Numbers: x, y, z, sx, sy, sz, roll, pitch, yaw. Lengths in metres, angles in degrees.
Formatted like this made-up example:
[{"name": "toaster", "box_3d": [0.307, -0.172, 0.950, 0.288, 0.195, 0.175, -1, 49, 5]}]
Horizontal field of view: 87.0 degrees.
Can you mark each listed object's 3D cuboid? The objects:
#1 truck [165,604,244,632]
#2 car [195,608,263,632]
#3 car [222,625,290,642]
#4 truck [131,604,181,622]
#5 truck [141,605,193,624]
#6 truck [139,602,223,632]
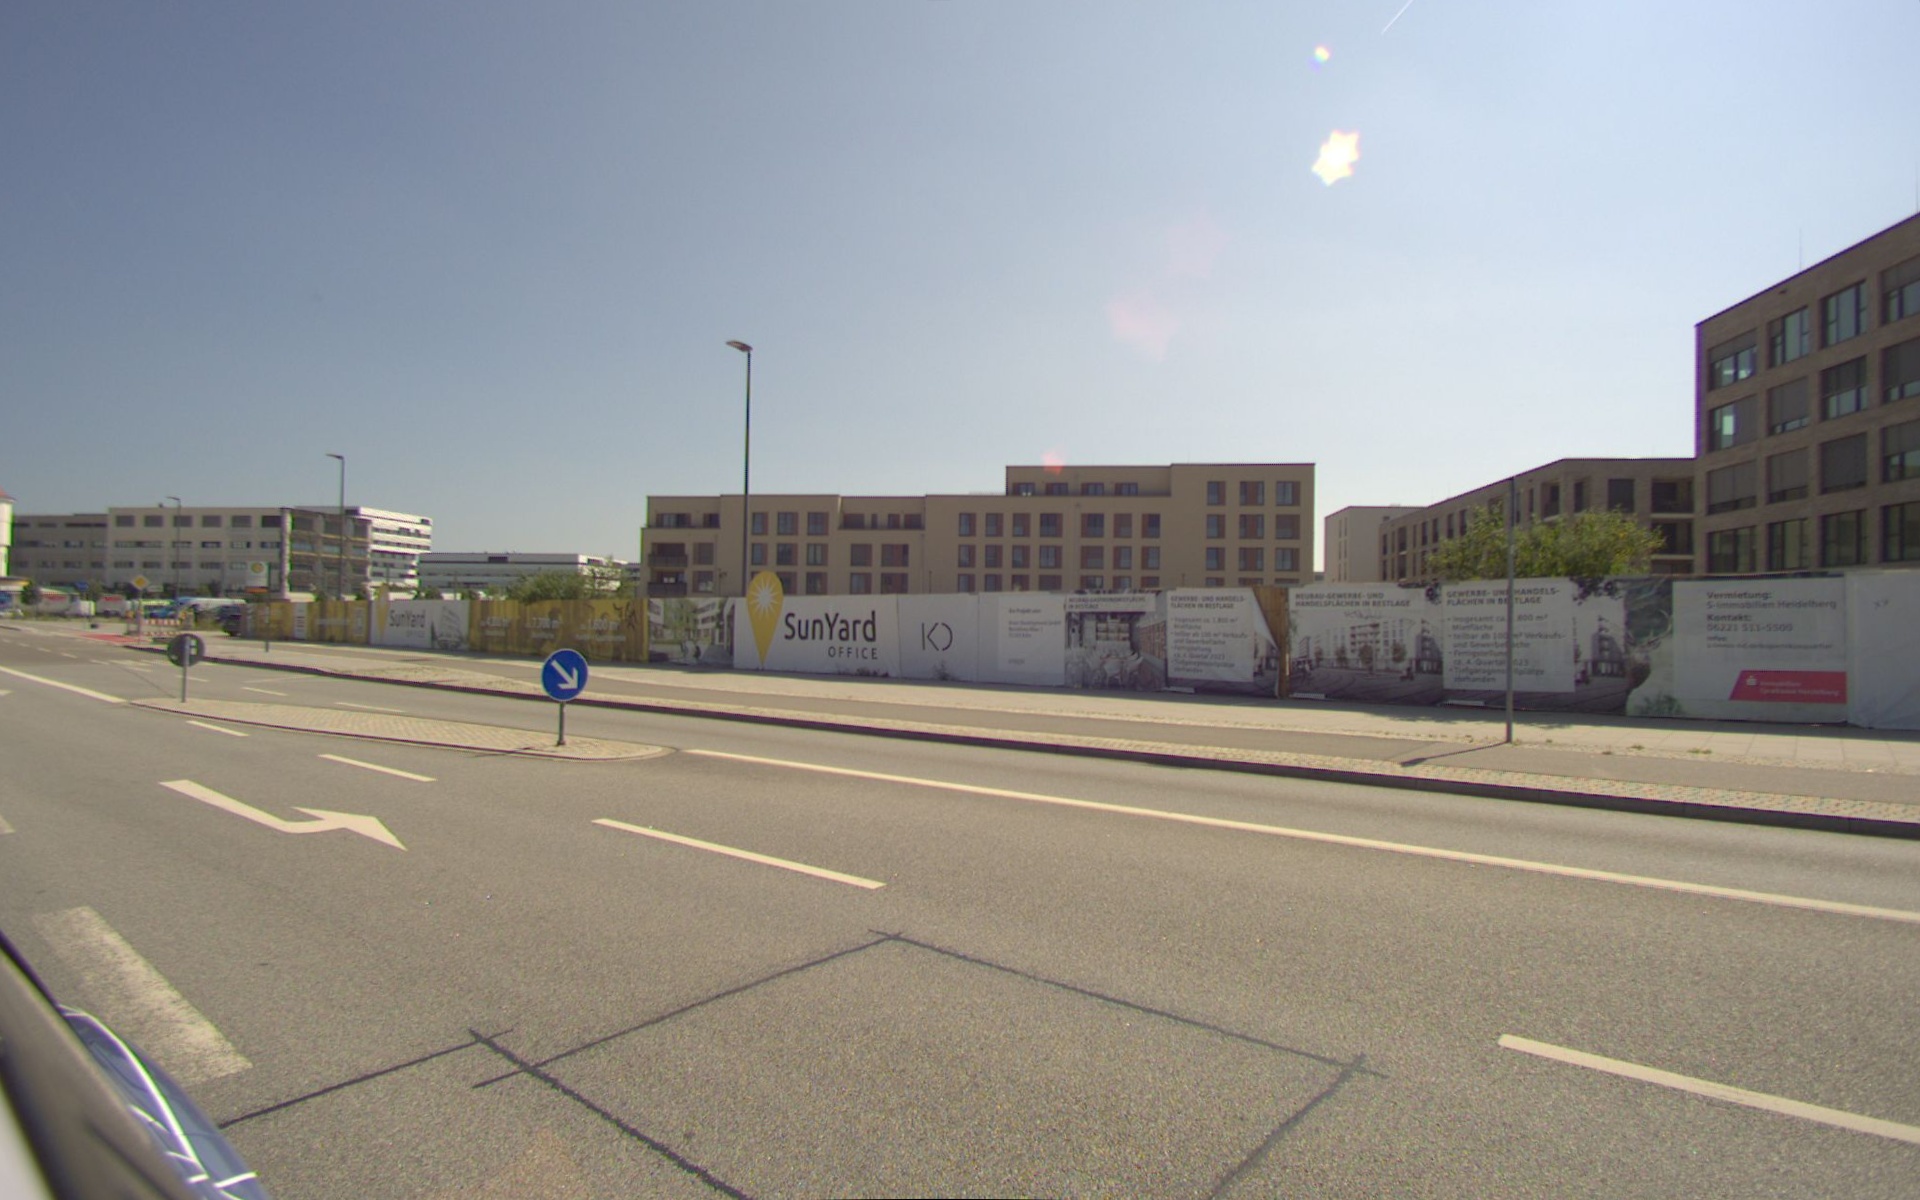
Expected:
[{"name": "truck", "box_3d": [-63.170, 1.457, 84.690, 1.998, 2.245, 4.942, -1, 0, 39]}, {"name": "car", "box_3d": [-56.405, 1.548, 78.110, 1.888, 1.731, 3.884, -1, 0, 36]}, {"name": "car", "box_3d": [-44.158, 2.073, 63.531, 1.293, 0.960, 3.314, -1, 0, 43]}, {"name": "truck", "box_3d": [-115.559, 1.908, 145.569, 1.998, 2.494, 5.345, -1, 0, 39]}, {"name": "truck", "box_3d": [-109.792, 2.033, 140.178, 1.997, 2.494, 5.269, -1, 0, 37]}, {"name": "truck", "box_3d": [-68.760, 1.490, 89.400, 1.997, 2.494, 5.566, -1, 0, 37]}]
